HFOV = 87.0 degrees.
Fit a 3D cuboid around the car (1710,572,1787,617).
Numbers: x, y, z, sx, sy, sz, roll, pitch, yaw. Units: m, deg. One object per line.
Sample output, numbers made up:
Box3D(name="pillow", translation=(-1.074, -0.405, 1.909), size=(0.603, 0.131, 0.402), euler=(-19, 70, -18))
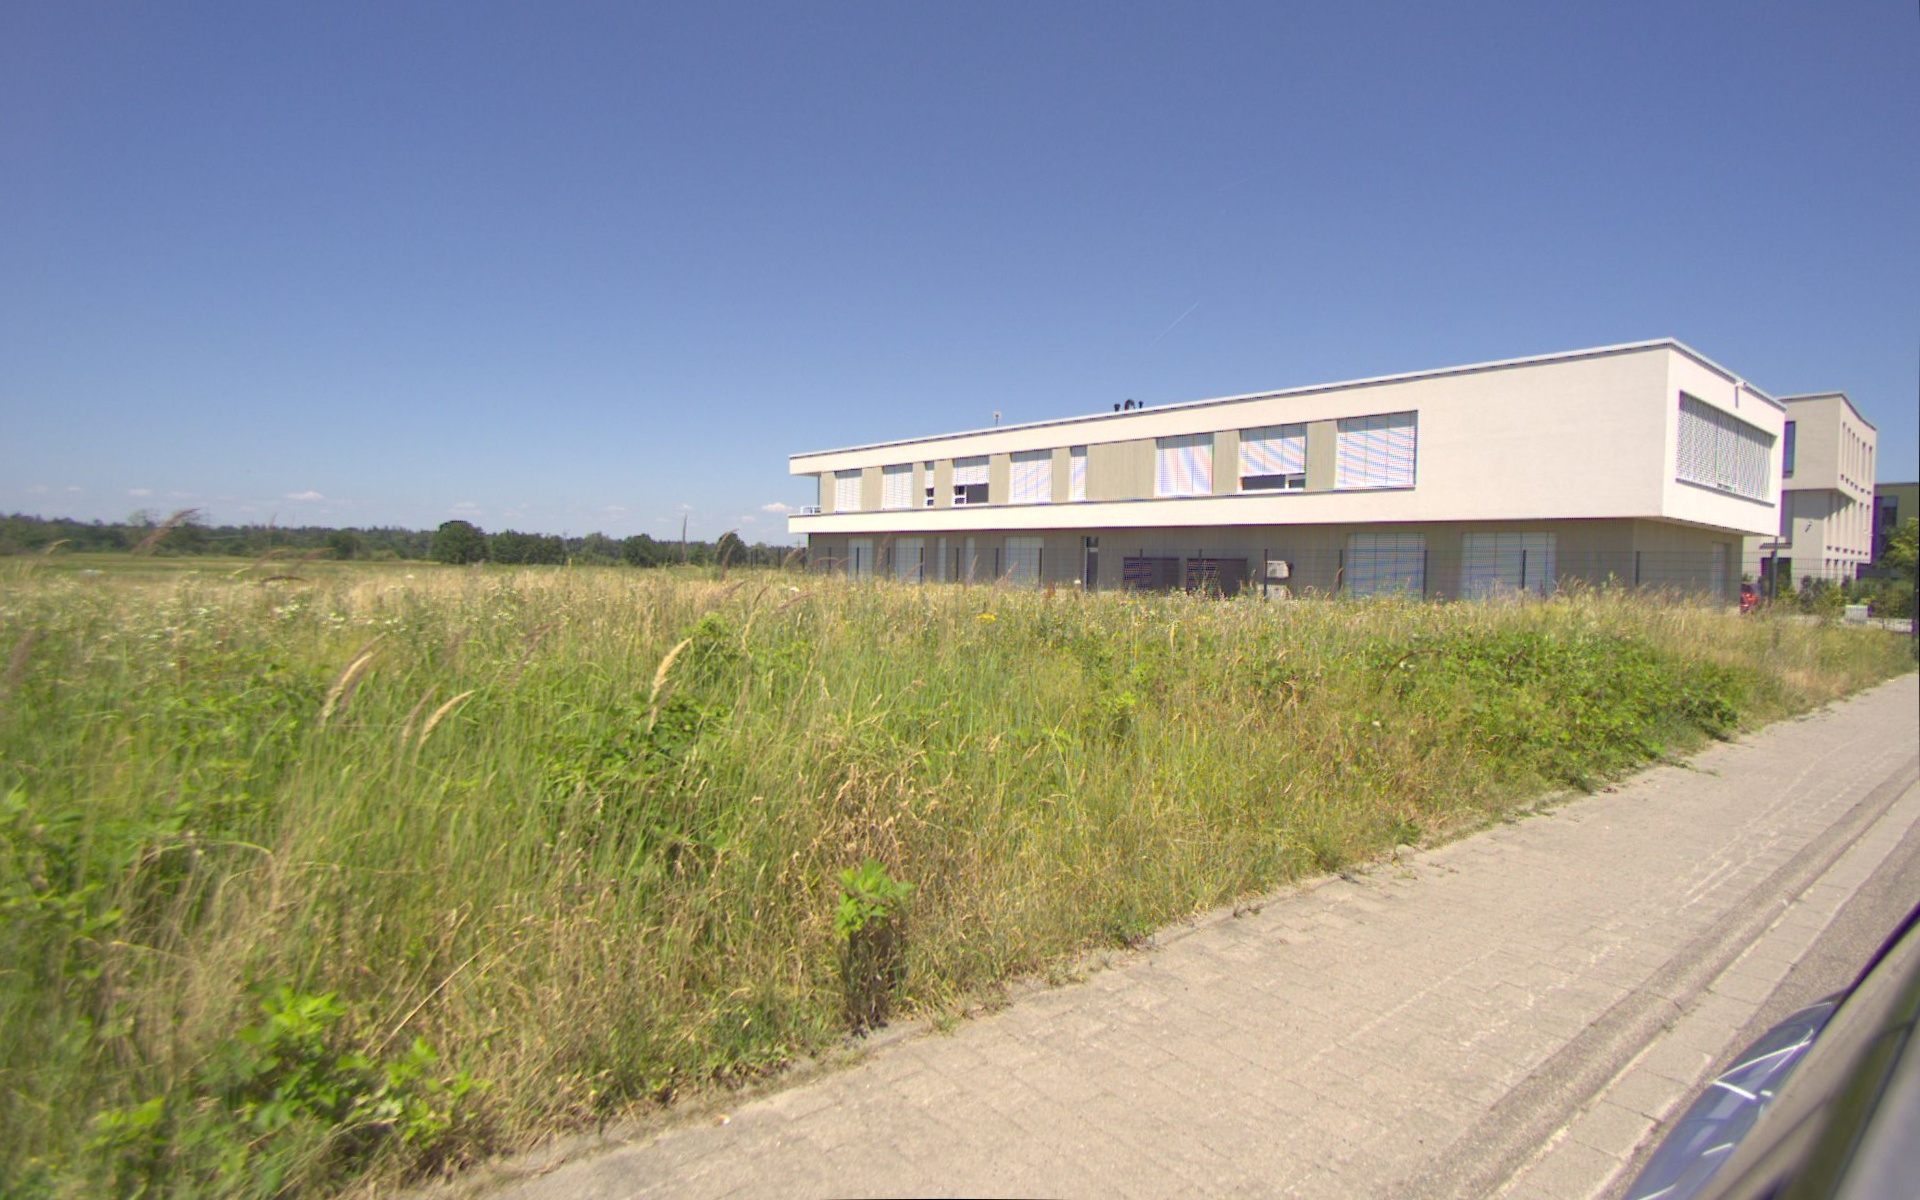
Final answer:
Box3D(name="car", translation=(29.379, -0.185, 37.678), size=(4.010, 1.577, 1.670), euler=(1, 1, -44))
